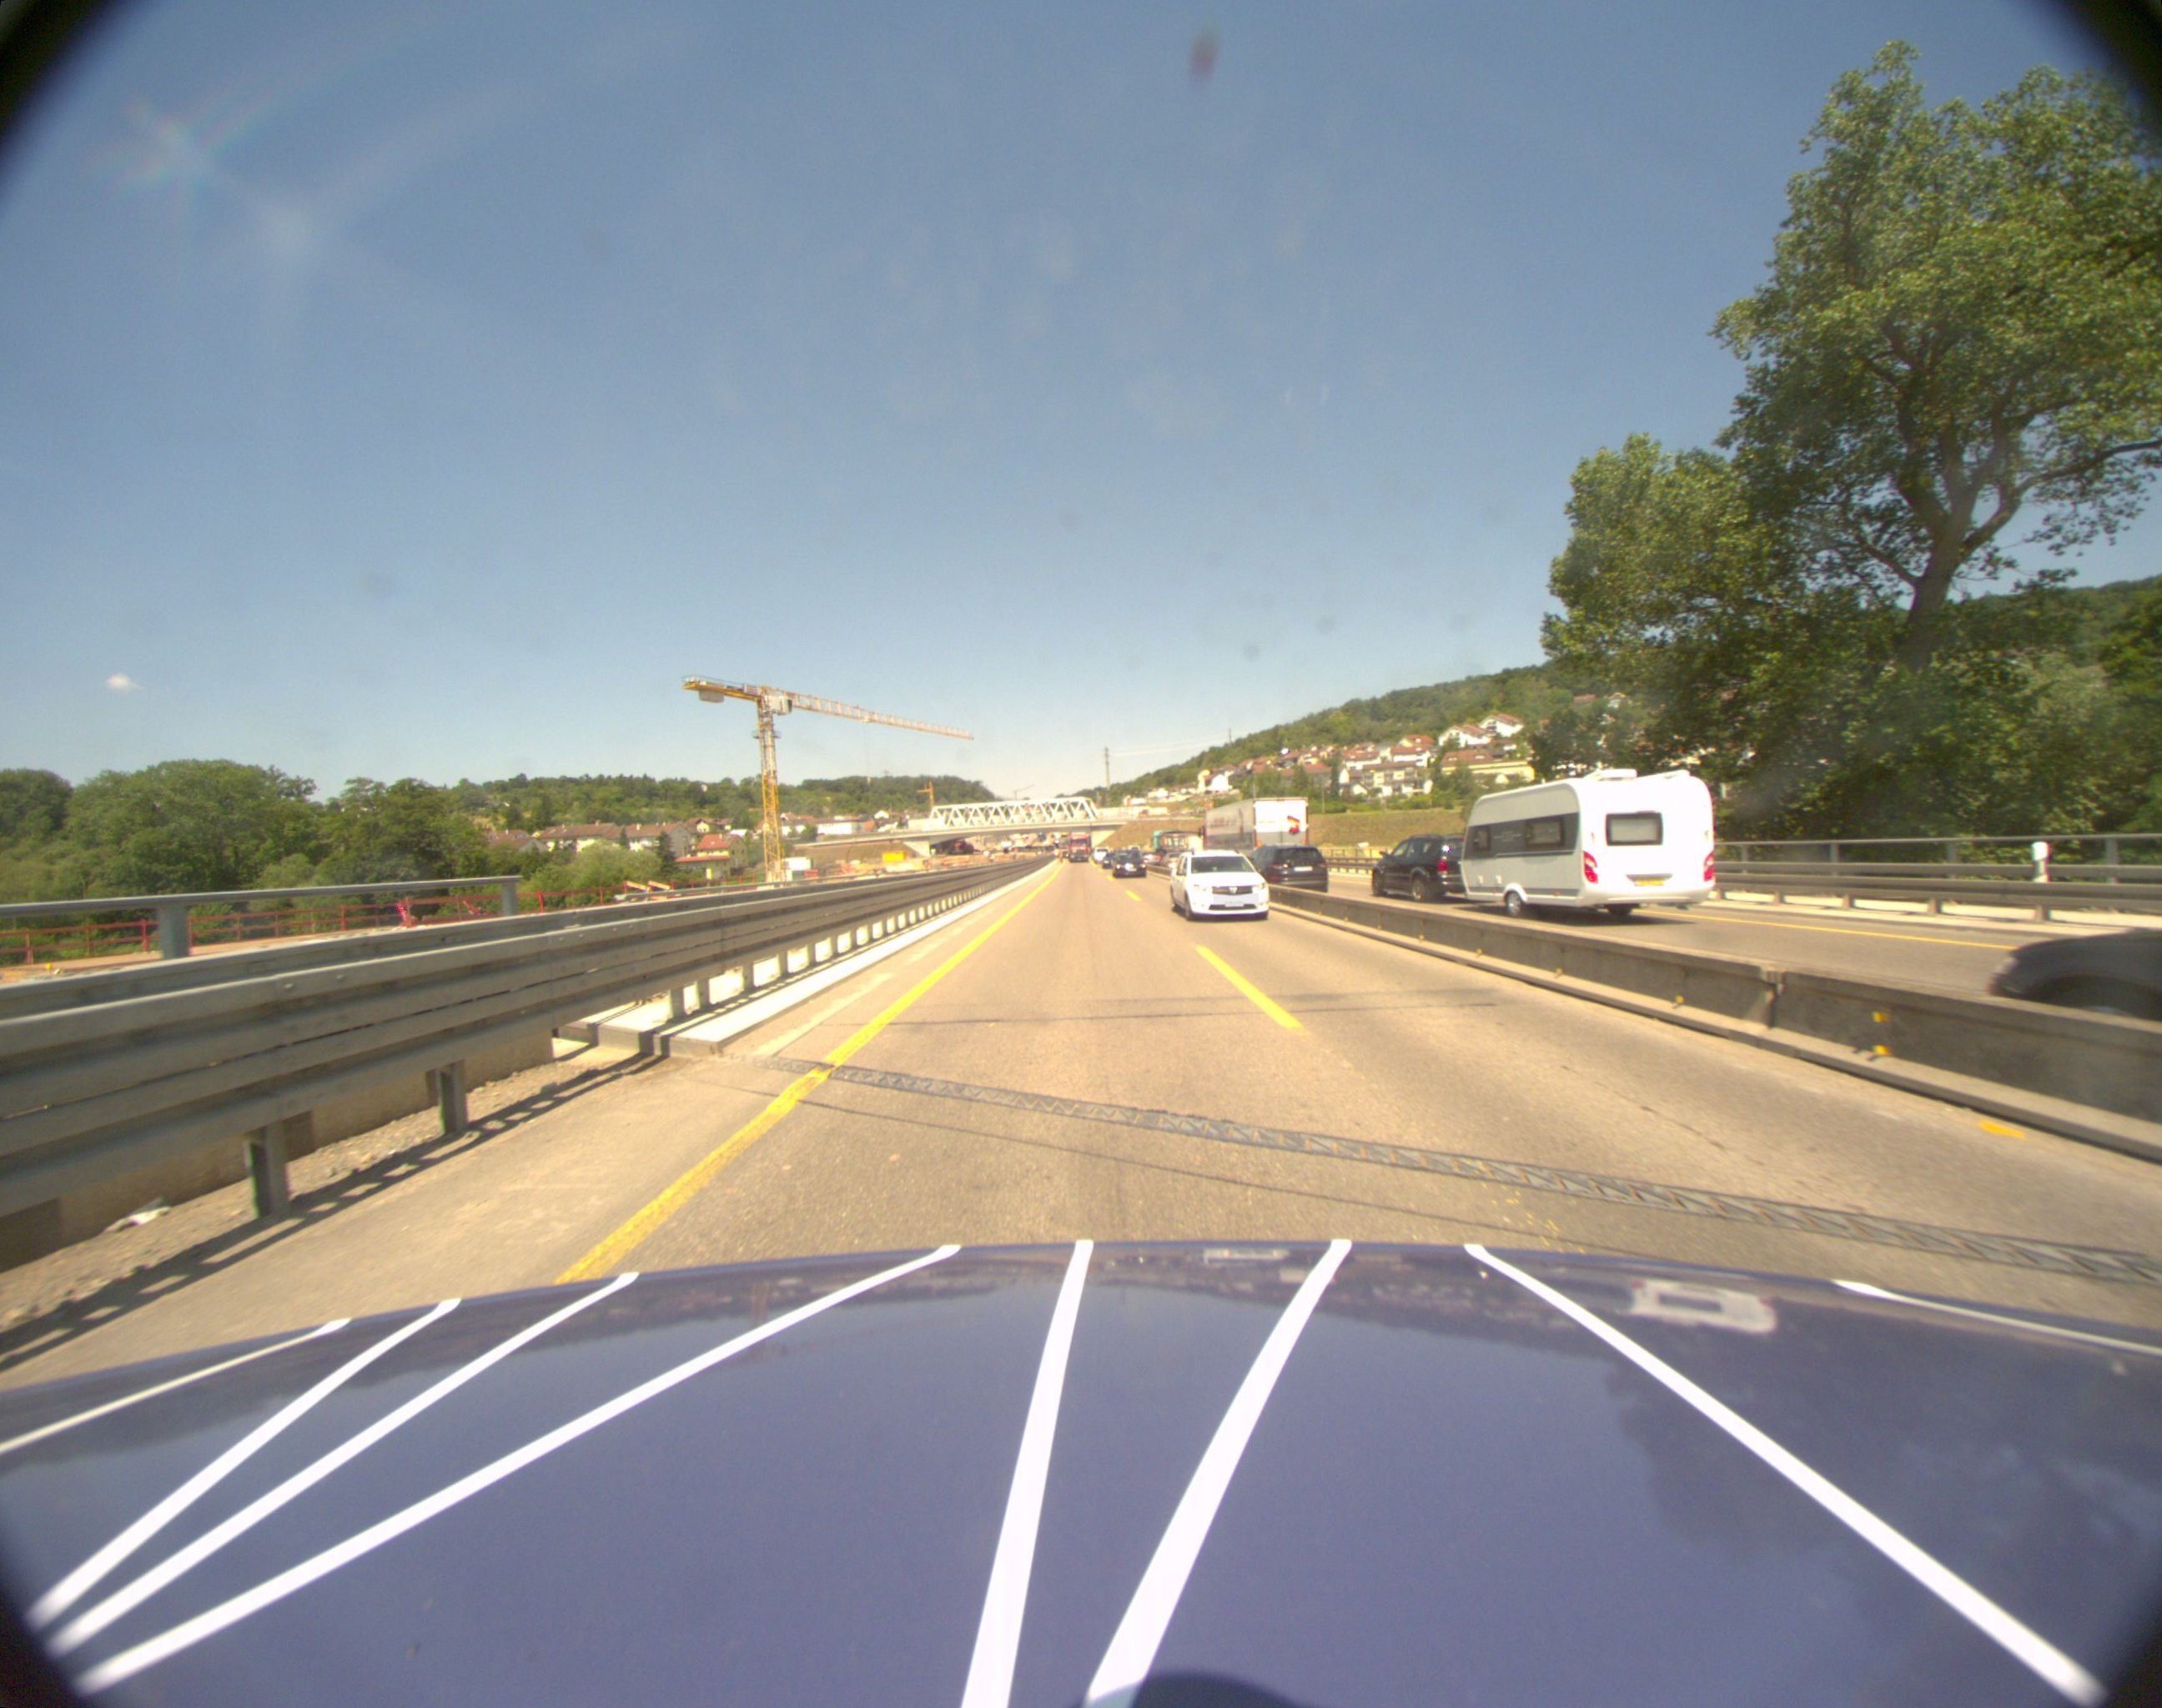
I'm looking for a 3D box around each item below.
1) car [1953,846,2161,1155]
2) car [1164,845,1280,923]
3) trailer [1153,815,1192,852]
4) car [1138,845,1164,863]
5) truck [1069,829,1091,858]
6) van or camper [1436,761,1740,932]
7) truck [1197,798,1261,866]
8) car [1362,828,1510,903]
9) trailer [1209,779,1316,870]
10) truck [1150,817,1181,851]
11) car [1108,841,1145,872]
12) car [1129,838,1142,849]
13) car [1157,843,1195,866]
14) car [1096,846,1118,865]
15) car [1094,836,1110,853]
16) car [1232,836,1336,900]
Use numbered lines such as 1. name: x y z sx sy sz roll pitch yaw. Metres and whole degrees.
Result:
1. car: 6.050 0.698 2.194 1.782 1.412 4.537 -3 1 -1
2. car: 3.125 0.585 17.797 1.823 1.521 4.705 -2 1 0
3. trailer: 9.669 -2.135 81.190 2.801 3.651 8.954 -2 1 -1
4. car: 6.314 -0.026 68.932 1.895 1.479 4.919 -3 1 0
5. truck: -0.042 -1.452 103.899 2.702 3.705 8.506 -2 2 2
6. van or camper: 9.429 -0.146 14.914 2.510 2.683 5.243 -2 1 1
7. truck: 9.489 -1.360 49.419 2.823 4.014 6.522 -2 0 0
8. car: 9.356 0.253 20.535 1.772 1.724 4.790 -2 1 1
9. trailer: 9.541 -1.383 41.599 2.814 4.152 11.797 -2 0 0
10. truck: 9.580 -2.263 86.484 2.804 3.701 5.372 -1 2 -1
11. car: 2.721 0.121 45.862 1.862 1.683 4.096 -2 1 -1
12. car: 9.156 -1.734 128.789 1.864 1.857 4.628 -1 1 0
13. car: 6.239 0.047 50.114 1.906 1.453 4.193 1 0 -1
14. car: 2.333 0.124 68.769 1.791 1.578 4.000 -4 1 1
15. car: 2.507 -1.169 92.069 1.791 1.871 4.000 -4 1 1
16. car: 6.099 0.368 23.411 1.852 1.678 4.618 -3 1 0
